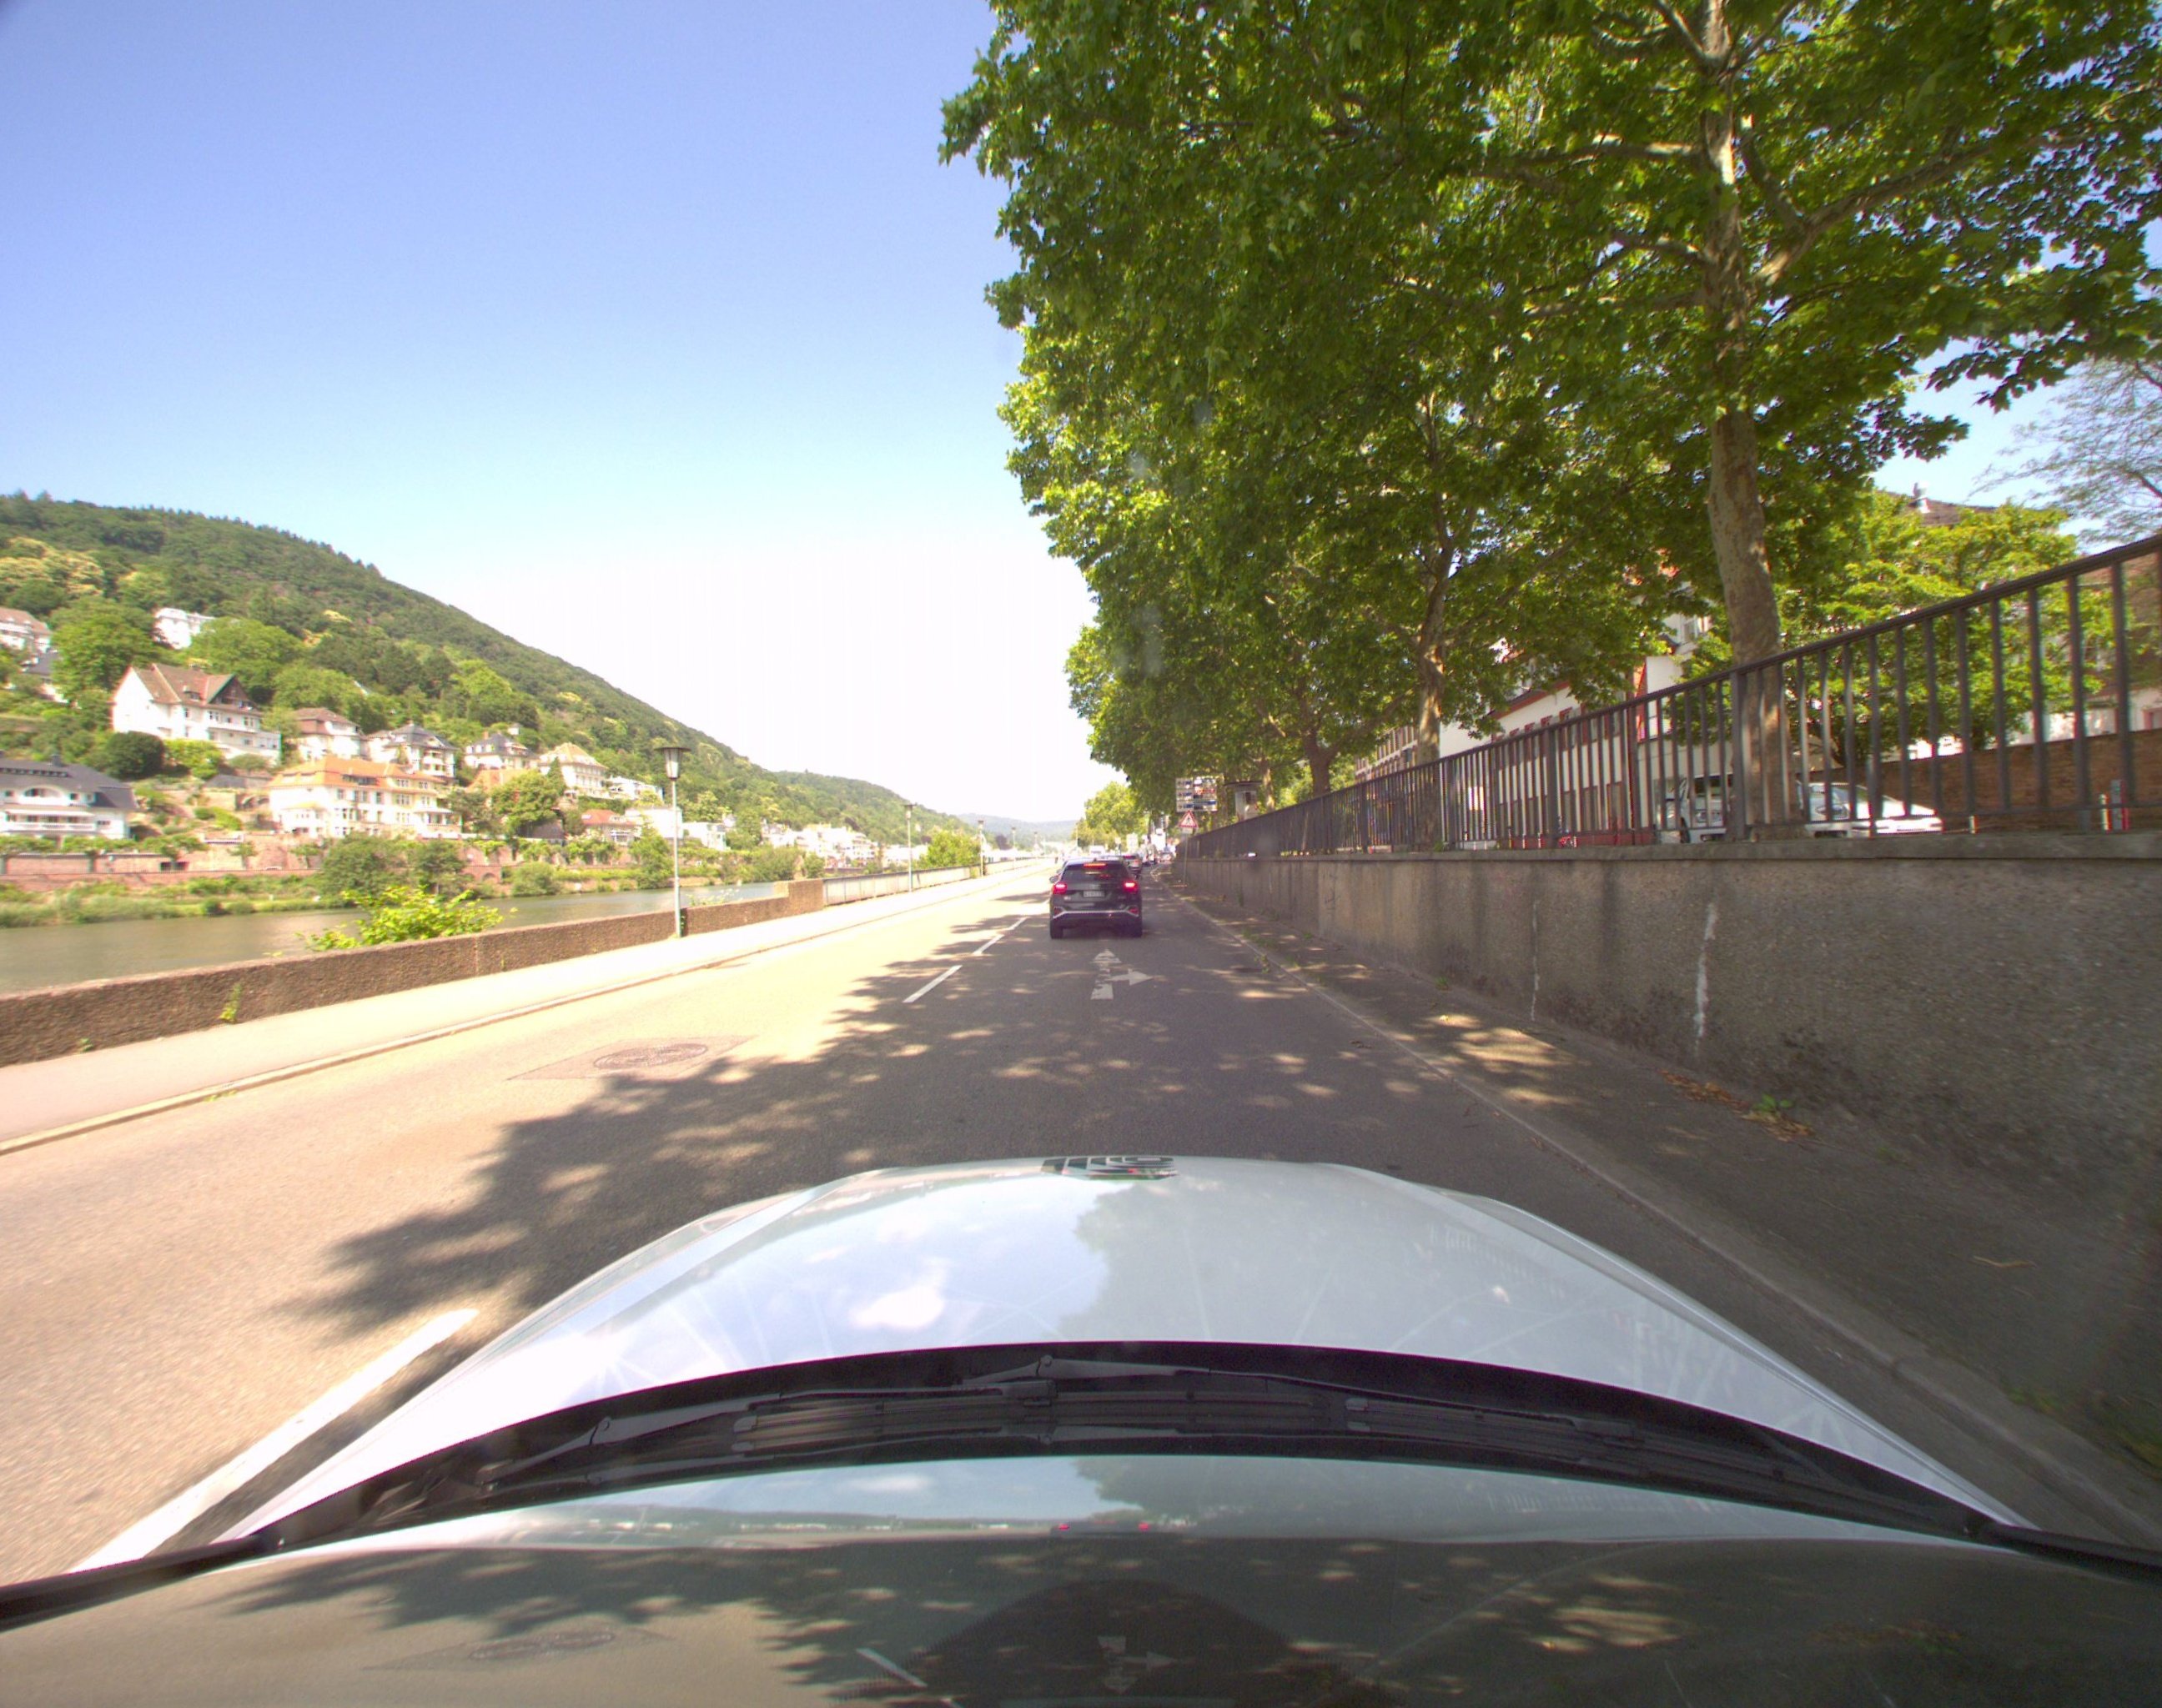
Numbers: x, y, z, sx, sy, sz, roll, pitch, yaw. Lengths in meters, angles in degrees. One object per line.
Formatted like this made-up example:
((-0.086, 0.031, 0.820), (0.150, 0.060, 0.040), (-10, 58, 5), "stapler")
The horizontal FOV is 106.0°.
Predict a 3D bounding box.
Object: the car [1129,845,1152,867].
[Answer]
((6.390, 0.197, 87.235), (1.982, 2.169, 4.009), (-5, 0, 8), "car")

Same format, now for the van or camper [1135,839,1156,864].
((7.977, -0.291, 100.865), (2.300, 2.847, 4.249), (-5, 0, 3), "van or camper")

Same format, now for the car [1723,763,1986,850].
((15.502, -0.870, 16.643), (1.866, 1.427, 3.721), (-5, 0, 3), "car")

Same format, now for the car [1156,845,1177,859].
((13.588, -0.251, 129.981), (2.652, 2.013, 5.826), (-5, 0, 1), "car")

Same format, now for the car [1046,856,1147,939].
((0.336, 0.811, 16.942), (1.822, 1.486, 4.001), (-1, 0, 1), "car")

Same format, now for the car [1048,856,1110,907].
((-0.011, 0.822, 26.447), (1.822, 1.511, 4.001), (-1, 0, 1), "car")

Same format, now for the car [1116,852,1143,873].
((3.587, 0.623, 60.530), (1.822, 1.444, 4.001), (-1, 0, 1), "car")

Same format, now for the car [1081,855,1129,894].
((0.968, 0.785, 33.177), (1.822, 1.486, 4.001), (-1, 0, 1), "car")

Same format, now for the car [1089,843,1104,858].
((2.302, -0.547, 119.661), (1.986, 2.013, 4.001), (-5, 0, 1), "car")

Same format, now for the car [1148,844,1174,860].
((11.449, -0.236, 117.329), (3.087, 2.013, 5.826), (-5, 0, 1), "car")

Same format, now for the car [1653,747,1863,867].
((9.918, -0.589, 12.266), (1.757, 1.469, 4.025), (-1, 0, 30), "car")
